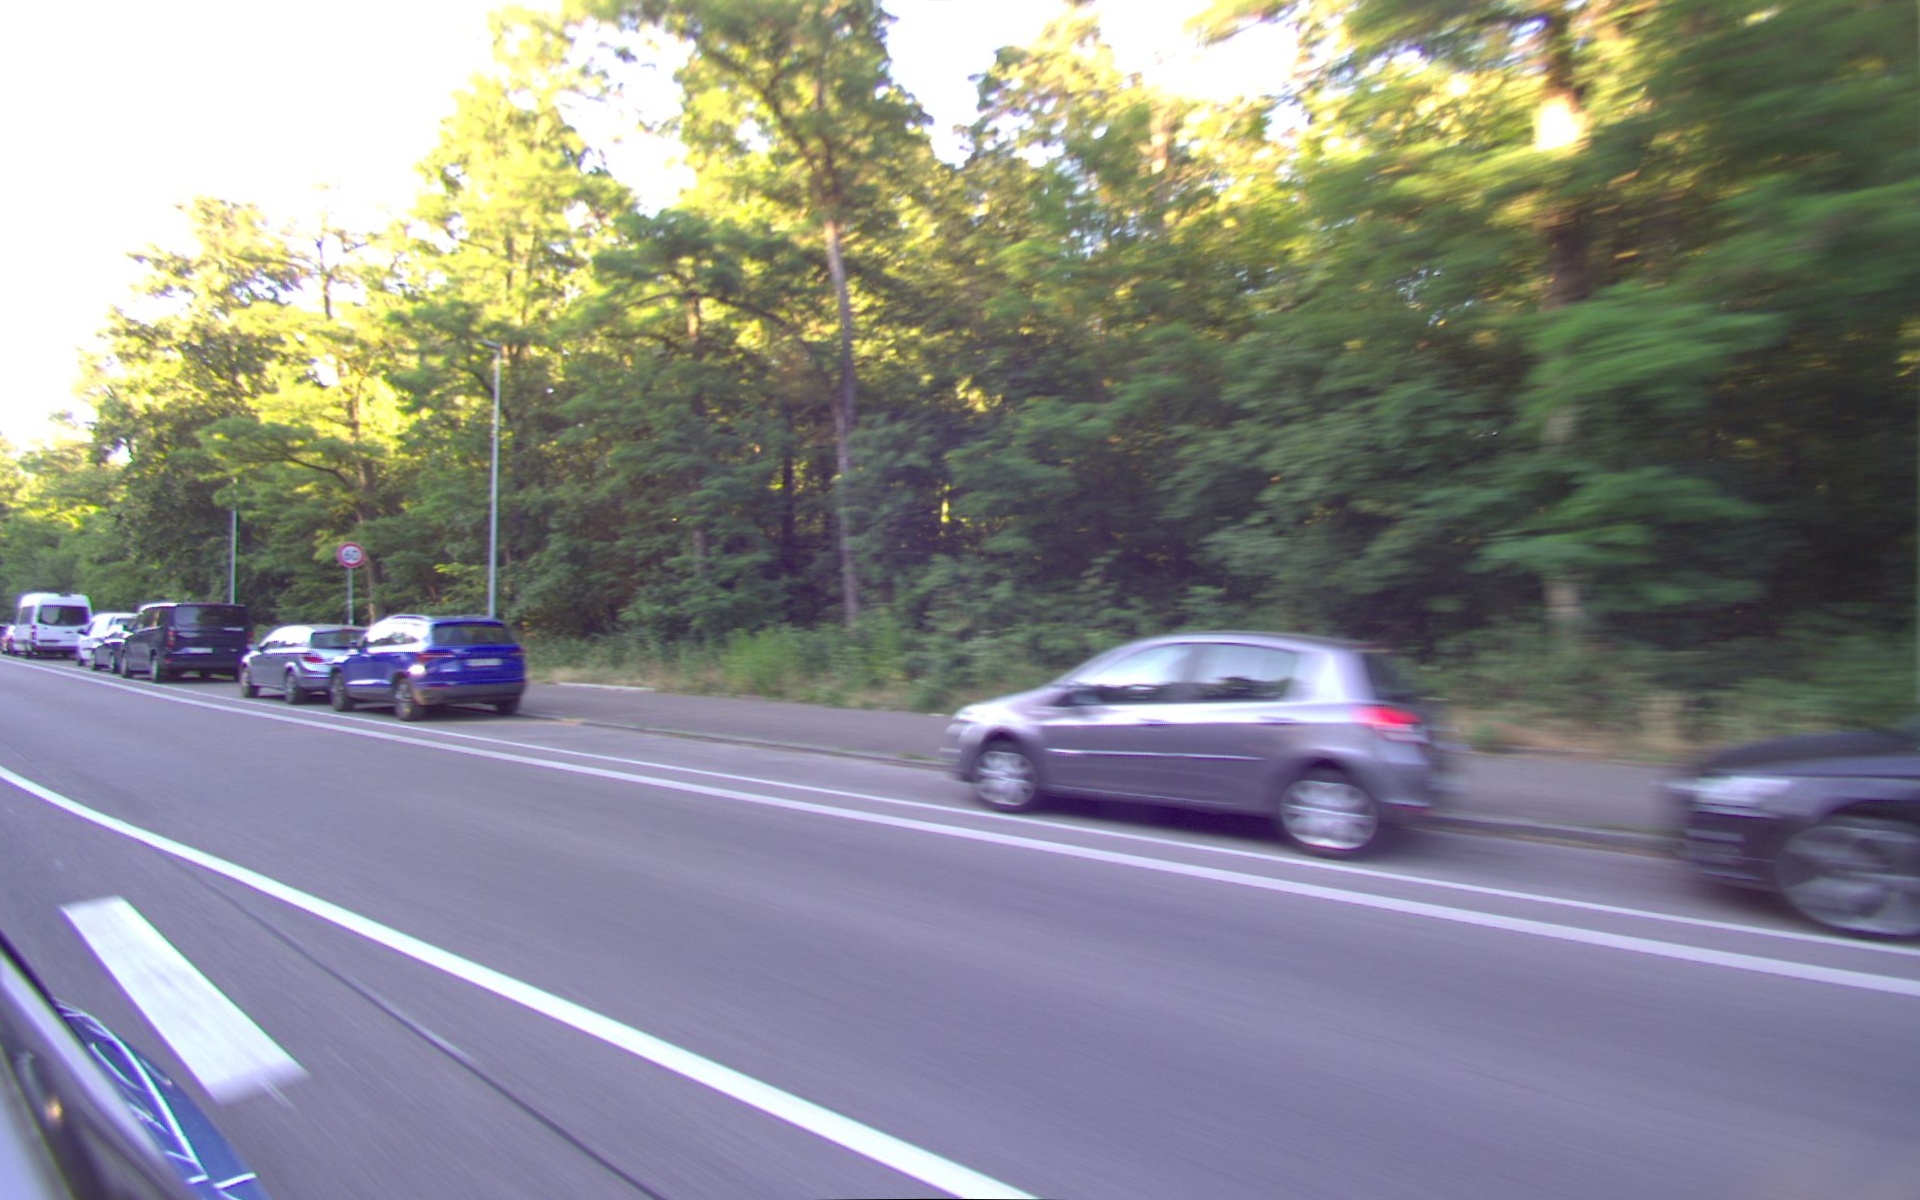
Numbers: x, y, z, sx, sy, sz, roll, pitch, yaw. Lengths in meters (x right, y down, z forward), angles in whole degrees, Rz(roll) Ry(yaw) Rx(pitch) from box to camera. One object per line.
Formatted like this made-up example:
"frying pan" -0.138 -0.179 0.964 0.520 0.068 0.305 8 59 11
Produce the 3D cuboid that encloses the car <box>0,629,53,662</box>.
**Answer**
"car" -42.874 2.069 46.233 4.387 1.441 1.697 -2 -3 43

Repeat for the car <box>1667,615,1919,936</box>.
"car" 5.792 0.839 4.799 3.963 1.505 1.529 -1 -3 35

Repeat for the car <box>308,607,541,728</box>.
"car" -8.850 1.039 16.571 4.518 1.725 1.727 -1 -3 40

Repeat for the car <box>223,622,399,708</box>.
"car" -12.728 1.213 19.757 4.242 1.513 1.652 -1 -3 40

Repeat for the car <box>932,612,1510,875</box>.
"car" 1.861 0.907 7.829 4.032 1.546 1.602 -1 -3 36

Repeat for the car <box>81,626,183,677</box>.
"car" -25.222 1.542 30.795 4.445 1.444 1.652 -2 -4 41

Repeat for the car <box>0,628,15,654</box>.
"car" -55.743 2.352 57.879 4.224 1.474 1.827 -2 -4 39

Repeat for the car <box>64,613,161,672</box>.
"car" -28.964 1.420 34.547 4.382 1.872 1.671 -1 0 39

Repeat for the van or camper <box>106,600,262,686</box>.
"van or camper" -20.389 1.126 26.509 5.456 2.033 1.982 -2 -4 39

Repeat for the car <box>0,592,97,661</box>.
"car" -38.279 1.153 42.417 7.085 2.626 2.057 -2 -5 41
